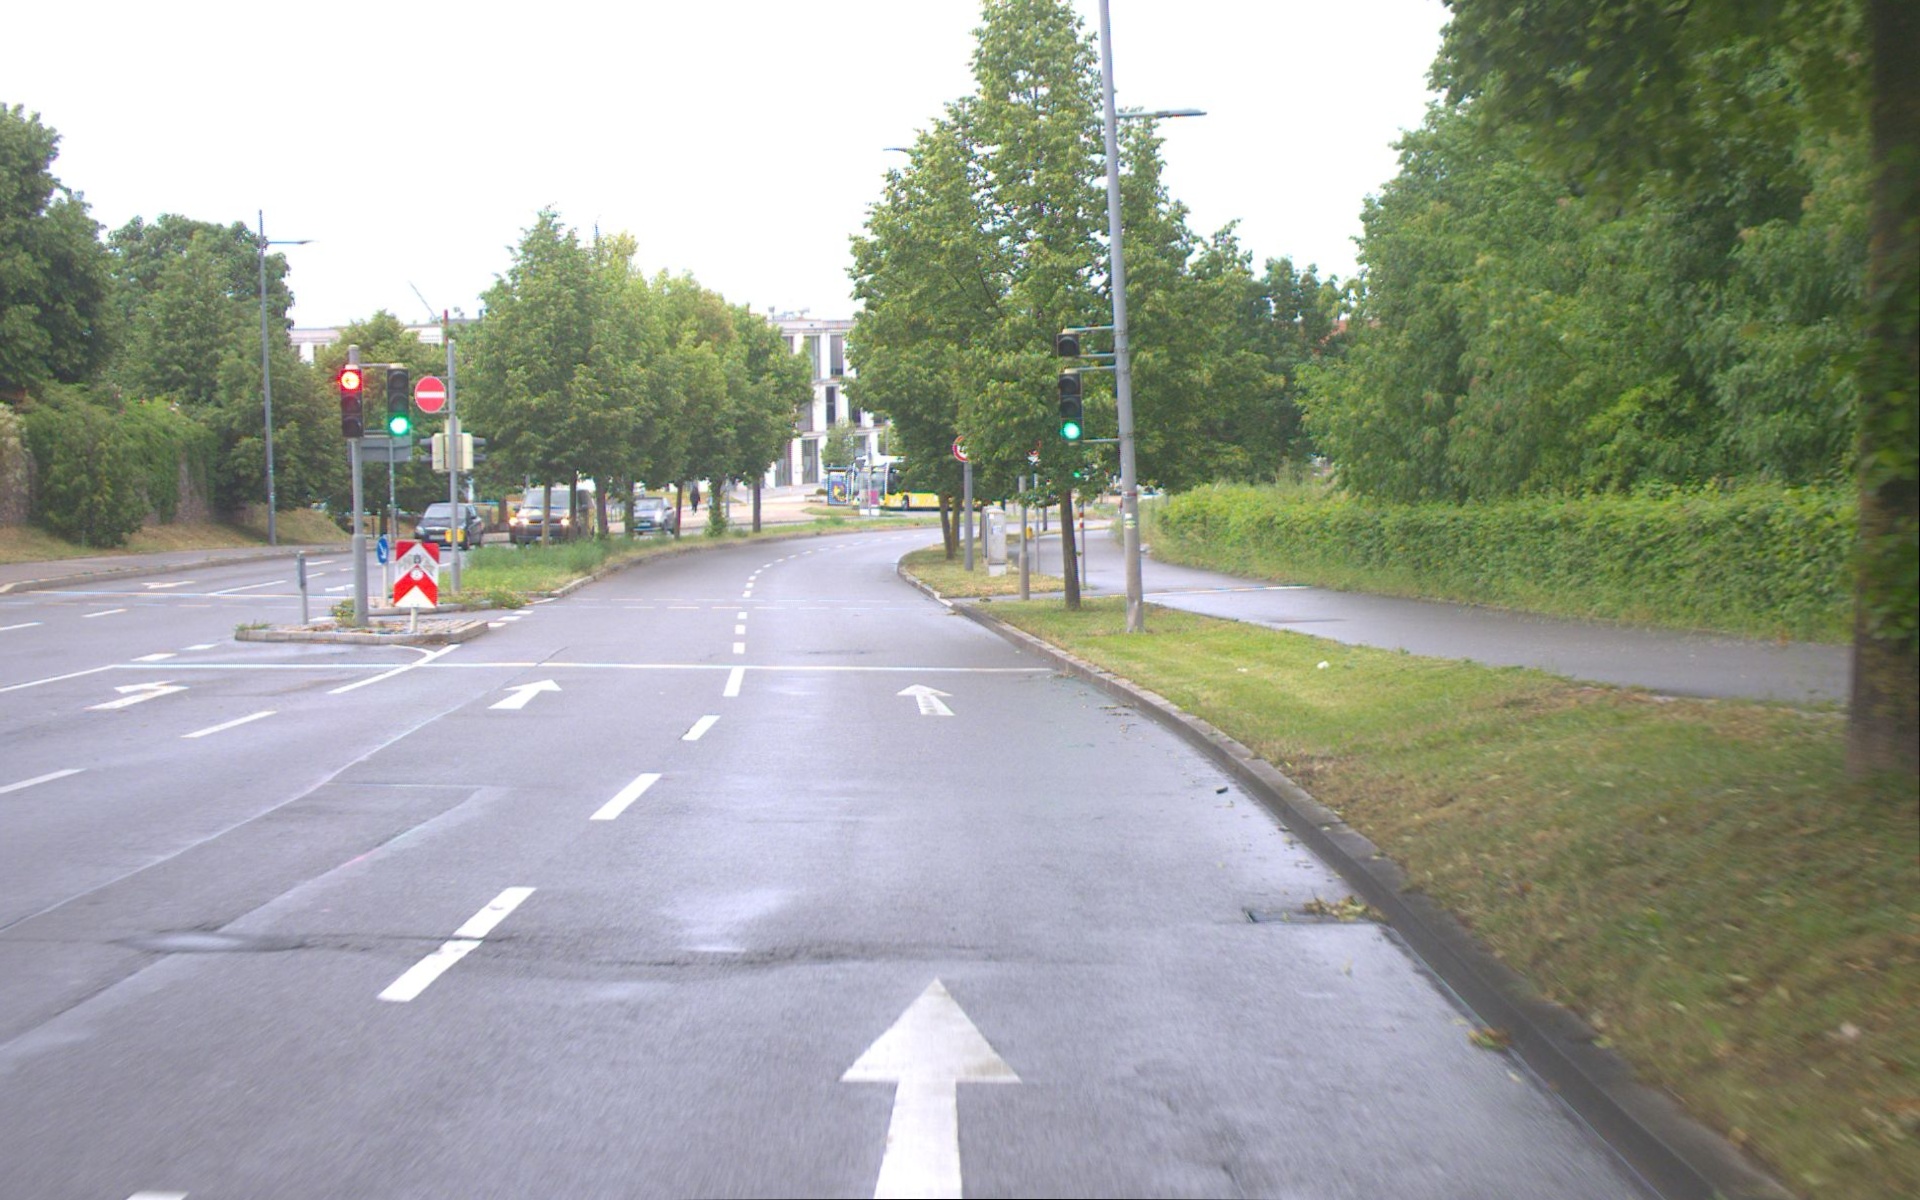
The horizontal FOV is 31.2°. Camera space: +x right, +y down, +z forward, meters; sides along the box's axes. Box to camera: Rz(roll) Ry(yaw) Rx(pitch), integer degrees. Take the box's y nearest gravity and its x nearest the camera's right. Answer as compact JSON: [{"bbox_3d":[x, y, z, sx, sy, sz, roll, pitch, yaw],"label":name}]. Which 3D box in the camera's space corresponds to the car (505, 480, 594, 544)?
[{"bbox_3d":[-12.552,-2.718,105.379,2.013,1.912,5.095,0,2,1],"label":"car"}]

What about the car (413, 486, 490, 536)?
[{"bbox_3d":[-15.705,-2.766,106.335,1.598,1.484,4.000,0,2,3],"label":"car"}]

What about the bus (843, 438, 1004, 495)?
[{"bbox_3d":[-2.166,-8.506,220.669,2.788,3.345,18.203,1,1,25],"label":"bus"}]

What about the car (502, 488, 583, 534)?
[{"bbox_3d":[-15.000,-3.213,123.675,1.881,1.589,4.766,1,2,6],"label":"car"}]

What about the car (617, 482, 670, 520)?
[{"bbox_3d":[-13.131,-4.114,142.777,1.686,1.534,2.916,0,3,5],"label":"car"}]
